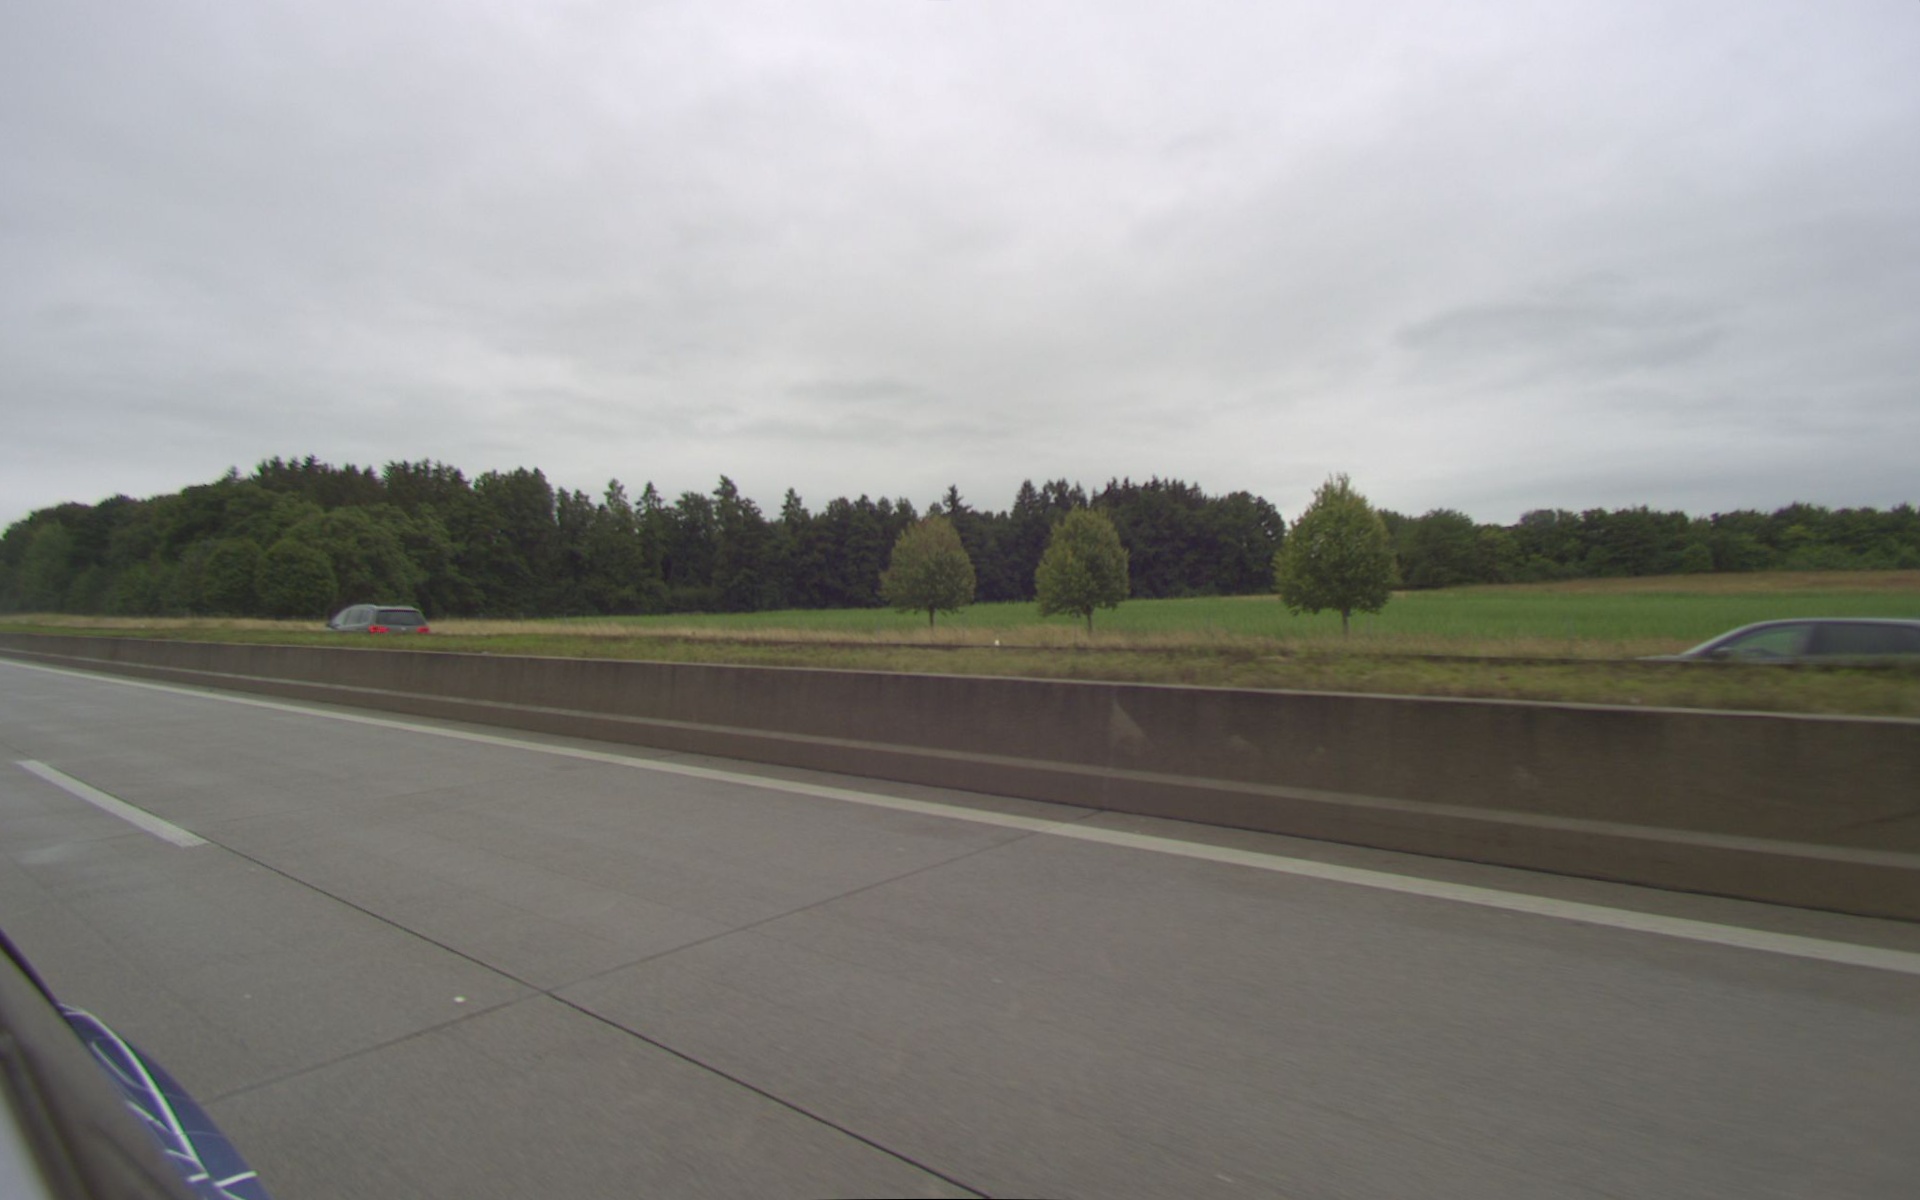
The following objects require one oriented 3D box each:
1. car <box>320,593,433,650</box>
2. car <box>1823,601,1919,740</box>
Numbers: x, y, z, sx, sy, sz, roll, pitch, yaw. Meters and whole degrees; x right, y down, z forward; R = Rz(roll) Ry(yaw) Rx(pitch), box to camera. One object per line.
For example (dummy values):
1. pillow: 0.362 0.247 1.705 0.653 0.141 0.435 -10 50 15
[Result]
1. car: -17.961 0.656 31.068 4.061 1.659 1.656 -1 -1 39
2. car: 11.543 0.712 10.336 4.061 1.408 1.656 -1 0 39
